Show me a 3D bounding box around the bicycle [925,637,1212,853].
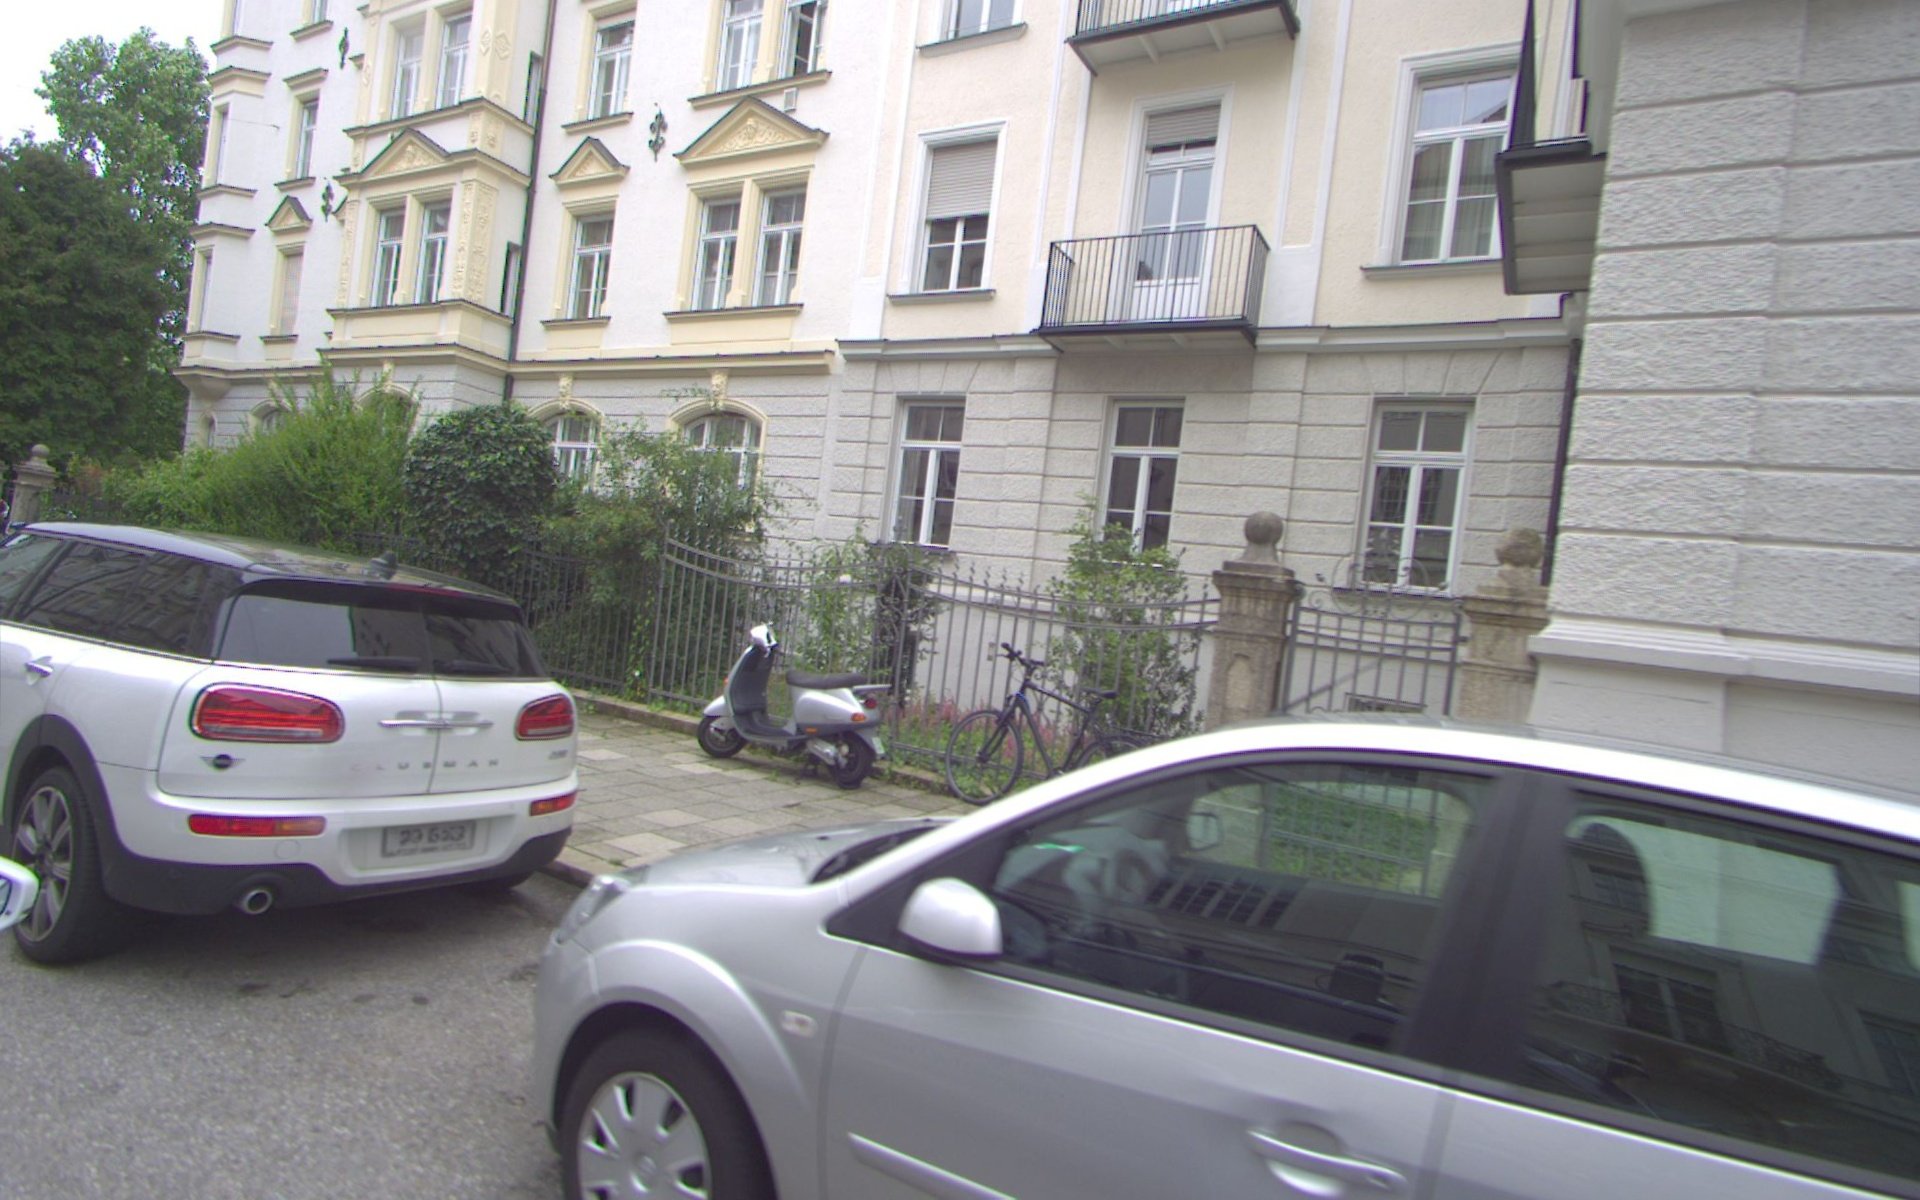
[{"bbox_3d":[0.705,0.941,6.940,1.850,1.139,0.434,7,0,32],"label":"bicycle"}]

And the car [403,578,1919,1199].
[{"bbox_3d":[0.710,0.906,2.152,3.394,1.423,1.758,7,-2,31],"label":"car"}]

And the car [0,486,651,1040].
[{"bbox_3d":[-3.584,0.375,4.643,3.997,1.522,1.788,7,-2,31],"label":"car"}]

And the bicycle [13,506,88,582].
[{"bbox_3d":[-15.013,-0.934,16.603,1.291,1.112,0.455,6,0,30],"label":"bicycle"}]

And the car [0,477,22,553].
[{"bbox_3d":[-27.292,-2.512,25.586,1.869,1.974,4.541,9,0,24],"label":"car"}]

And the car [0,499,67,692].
[{"bbox_3d":[-9.543,-0.273,8.473,3.949,1.522,1.688,7,-1,29],"label":"car"}]

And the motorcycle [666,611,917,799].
[{"bbox_3d":[-1.344,0.760,7.783,1.933,1.126,0.607,6,0,35],"label":"motorcycle"}]
